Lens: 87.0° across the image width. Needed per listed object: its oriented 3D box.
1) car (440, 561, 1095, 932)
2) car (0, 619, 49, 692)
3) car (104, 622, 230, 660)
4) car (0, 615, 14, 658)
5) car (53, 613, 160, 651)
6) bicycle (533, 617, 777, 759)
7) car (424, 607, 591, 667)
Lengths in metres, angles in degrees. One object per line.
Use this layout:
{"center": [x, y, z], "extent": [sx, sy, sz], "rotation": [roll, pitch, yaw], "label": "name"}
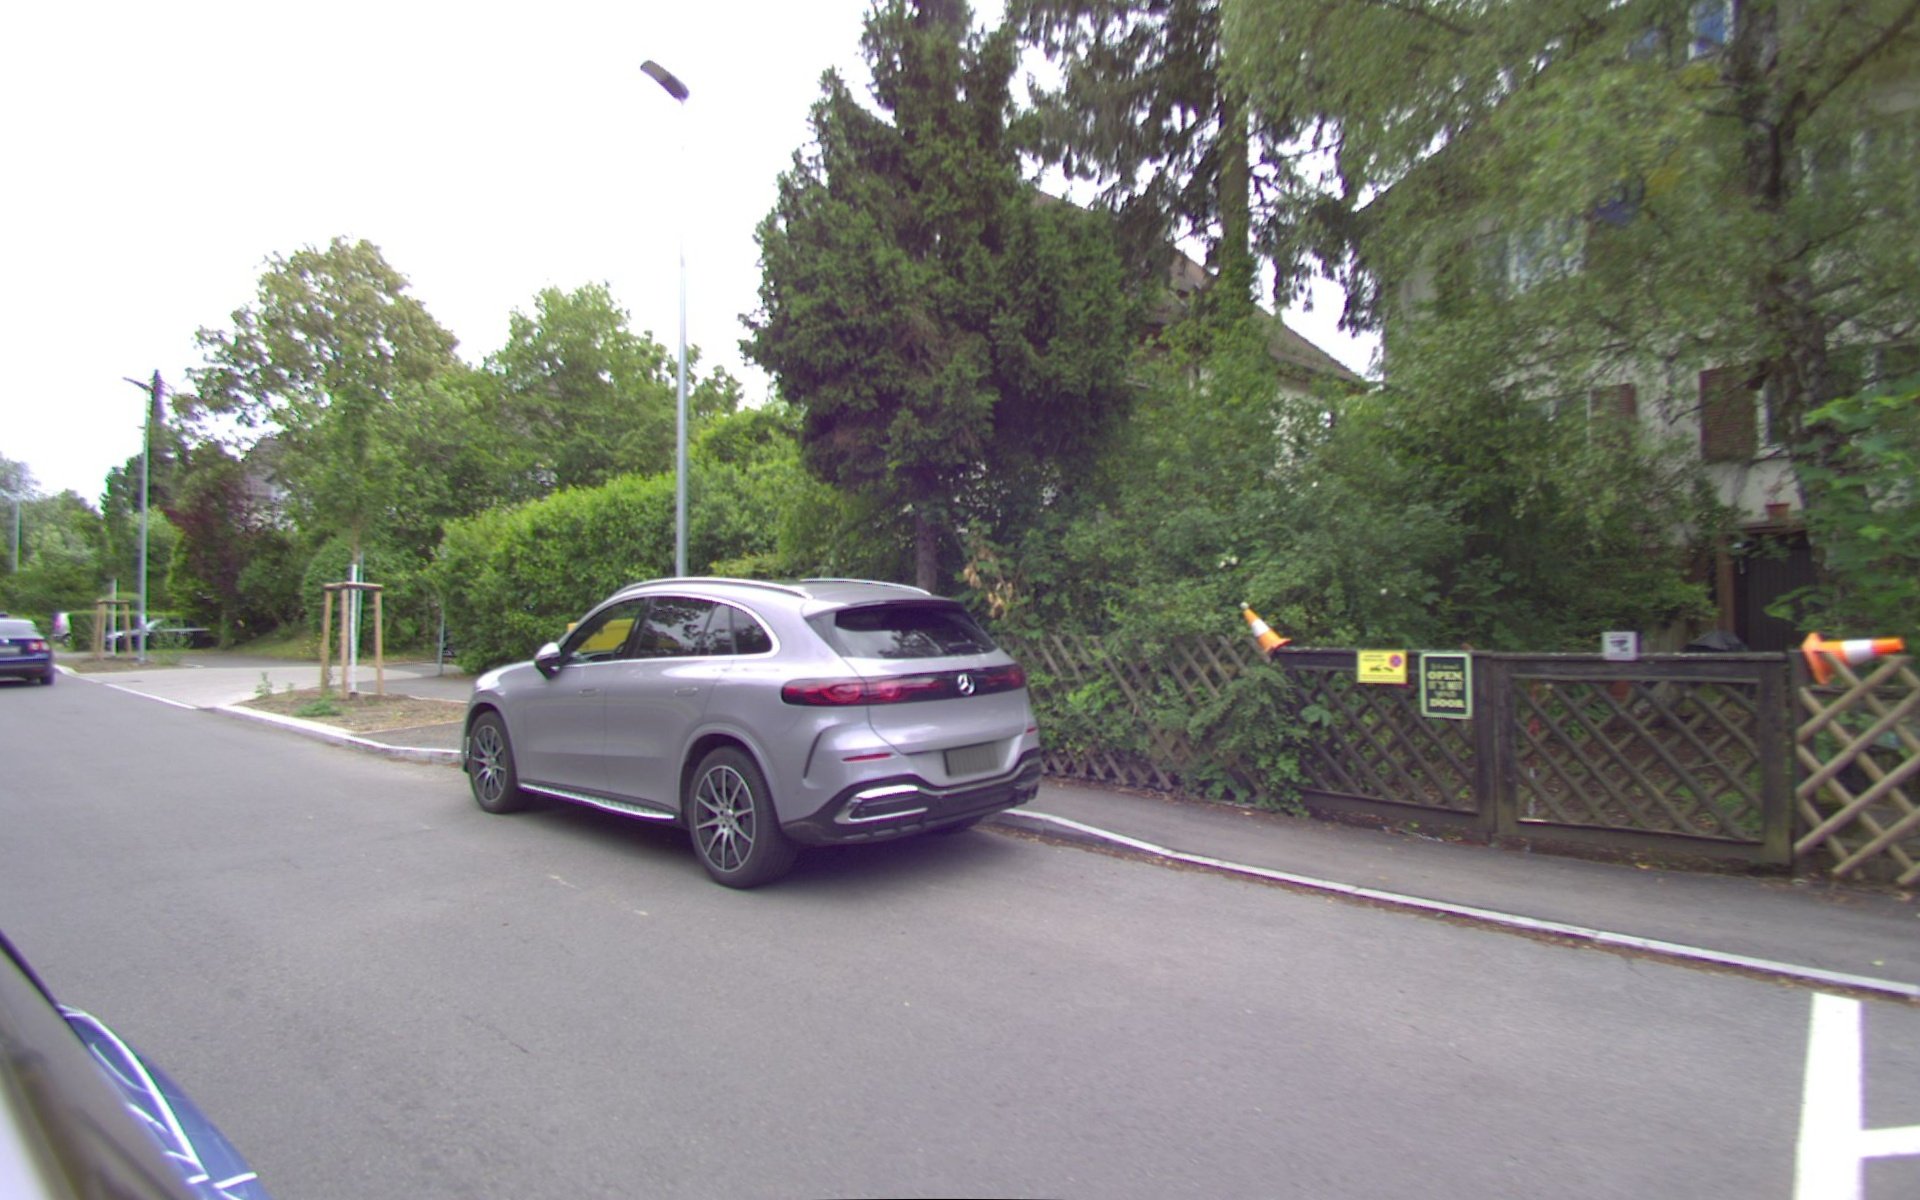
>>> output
{"center": [-1.577, 0.669, 6.680], "extent": [4.730, 1.619, 1.776], "rotation": [-1, 0, 43], "label": "car"}
{"center": [-21.353, 1.180, 22.224], "extent": [4.195, 1.485, 1.688], "rotation": [-1, 0, 44], "label": "car"}
{"center": [-31.080, 1.559, 39.723], "extent": [1.641, 1.324, 3.723], "rotation": [-1, 0, 43], "label": "car"}
{"center": [-39.681, 1.490, 40.878], "extent": [4.195, 1.693, 1.896], "rotation": [-1, 0, 44], "label": "car"}
{"center": [-39.204, 1.451, 46.531], "extent": [3.719, 1.602, 1.643], "rotation": [-1, 0, -42], "label": "car"}
{"center": [-3.167, 0.808, 10.305], "extent": [2.719, 1.239, 1.140], "rotation": [-1, -1, 42], "label": "bicycle"}
{"center": [-12.956, 1.008, 29.130], "extent": [1.683, 1.569, 4.075], "rotation": [-1, 0, 43], "label": "car"}
